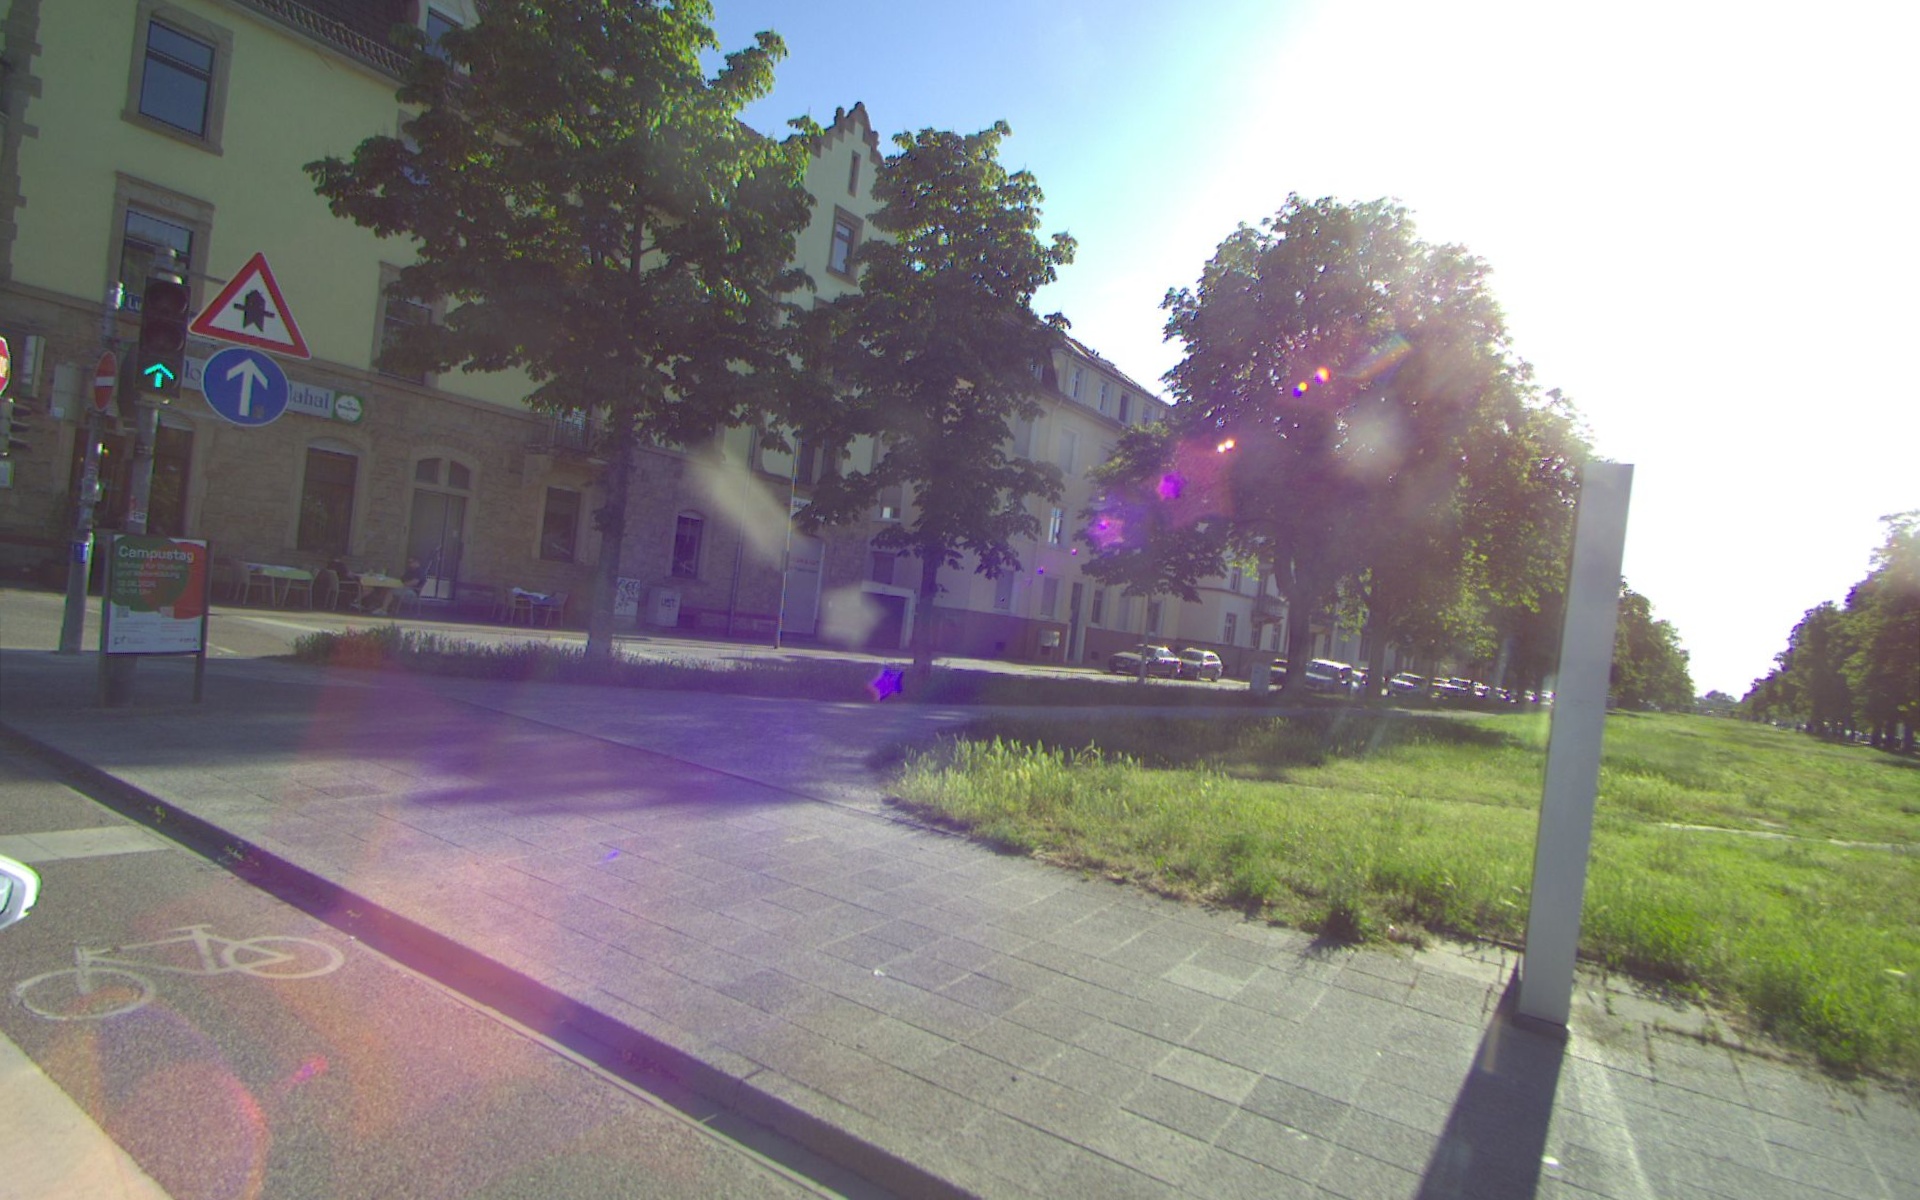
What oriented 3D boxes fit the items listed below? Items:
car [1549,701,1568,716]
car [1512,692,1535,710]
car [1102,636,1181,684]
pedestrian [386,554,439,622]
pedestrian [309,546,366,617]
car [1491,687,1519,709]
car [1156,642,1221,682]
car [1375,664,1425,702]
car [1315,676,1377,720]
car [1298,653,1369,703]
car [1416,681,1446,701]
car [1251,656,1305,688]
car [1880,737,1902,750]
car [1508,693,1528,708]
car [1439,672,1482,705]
[{"bbox_3d":[78.499,14.197,131.892,1.625,1.536,3.397,7,-2,36],"label":"car"},{"bbox_3d":[59.826,10.716,106.739,1.625,1.536,3.397,7,-2,36],"label":"car"},{"bbox_3d":[8.426,2.803,46.435,1.800,1.624,3.842,9,-1,38],"label":"car"},{"bbox_3d":[-12.231,-0.270,22.484,0.691,1.375,0.639,7,-1,36],"label":"pedestrian"},{"bbox_3d":[-13.157,-0.393,21.261,0.691,1.375,0.639,7,-1,36],"label":"pedestrian"},{"bbox_3d":[49.630,8.929,91.568,1.625,1.536,3.397,7,-2,36],"label":"car"},{"bbox_3d":[11.543,3.120,50.637,1.708,1.530,3.697,7,-3,36],"label":"car"},{"bbox_3d":[27.567,5.228,62.973,1.898,1.903,3.697,7,-2,37],"label":"car"},{"bbox_3d":[20.599,5.259,53.656,1.898,1.903,4.058,7,-2,36],"label":"car"},{"bbox_3d":[18.055,3.804,48.548,1.900,1.903,3.693,7,-3,40],"label":"car"},{"bbox_3d":[46.325,8.946,98.915,1.709,1.623,3.693,7,-1,38],"label":"car"},{"bbox_3d":[19.340,4.387,61.137,1.710,1.503,3.693,7,-3,40],"label":"car"},{"bbox_3d":[134.612,20.696,145.435,1.798,1.451,3.987,7,-1,37],"label":"car"},{"bbox_3d":[75.102,13.561,135.285,1.709,1.622,3.696,7,-3,38],"label":"car"},{"bbox_3d":[38.747,6.891,77.850,1.899,2.054,4.650,7,-3,38],"label":"car"}]
